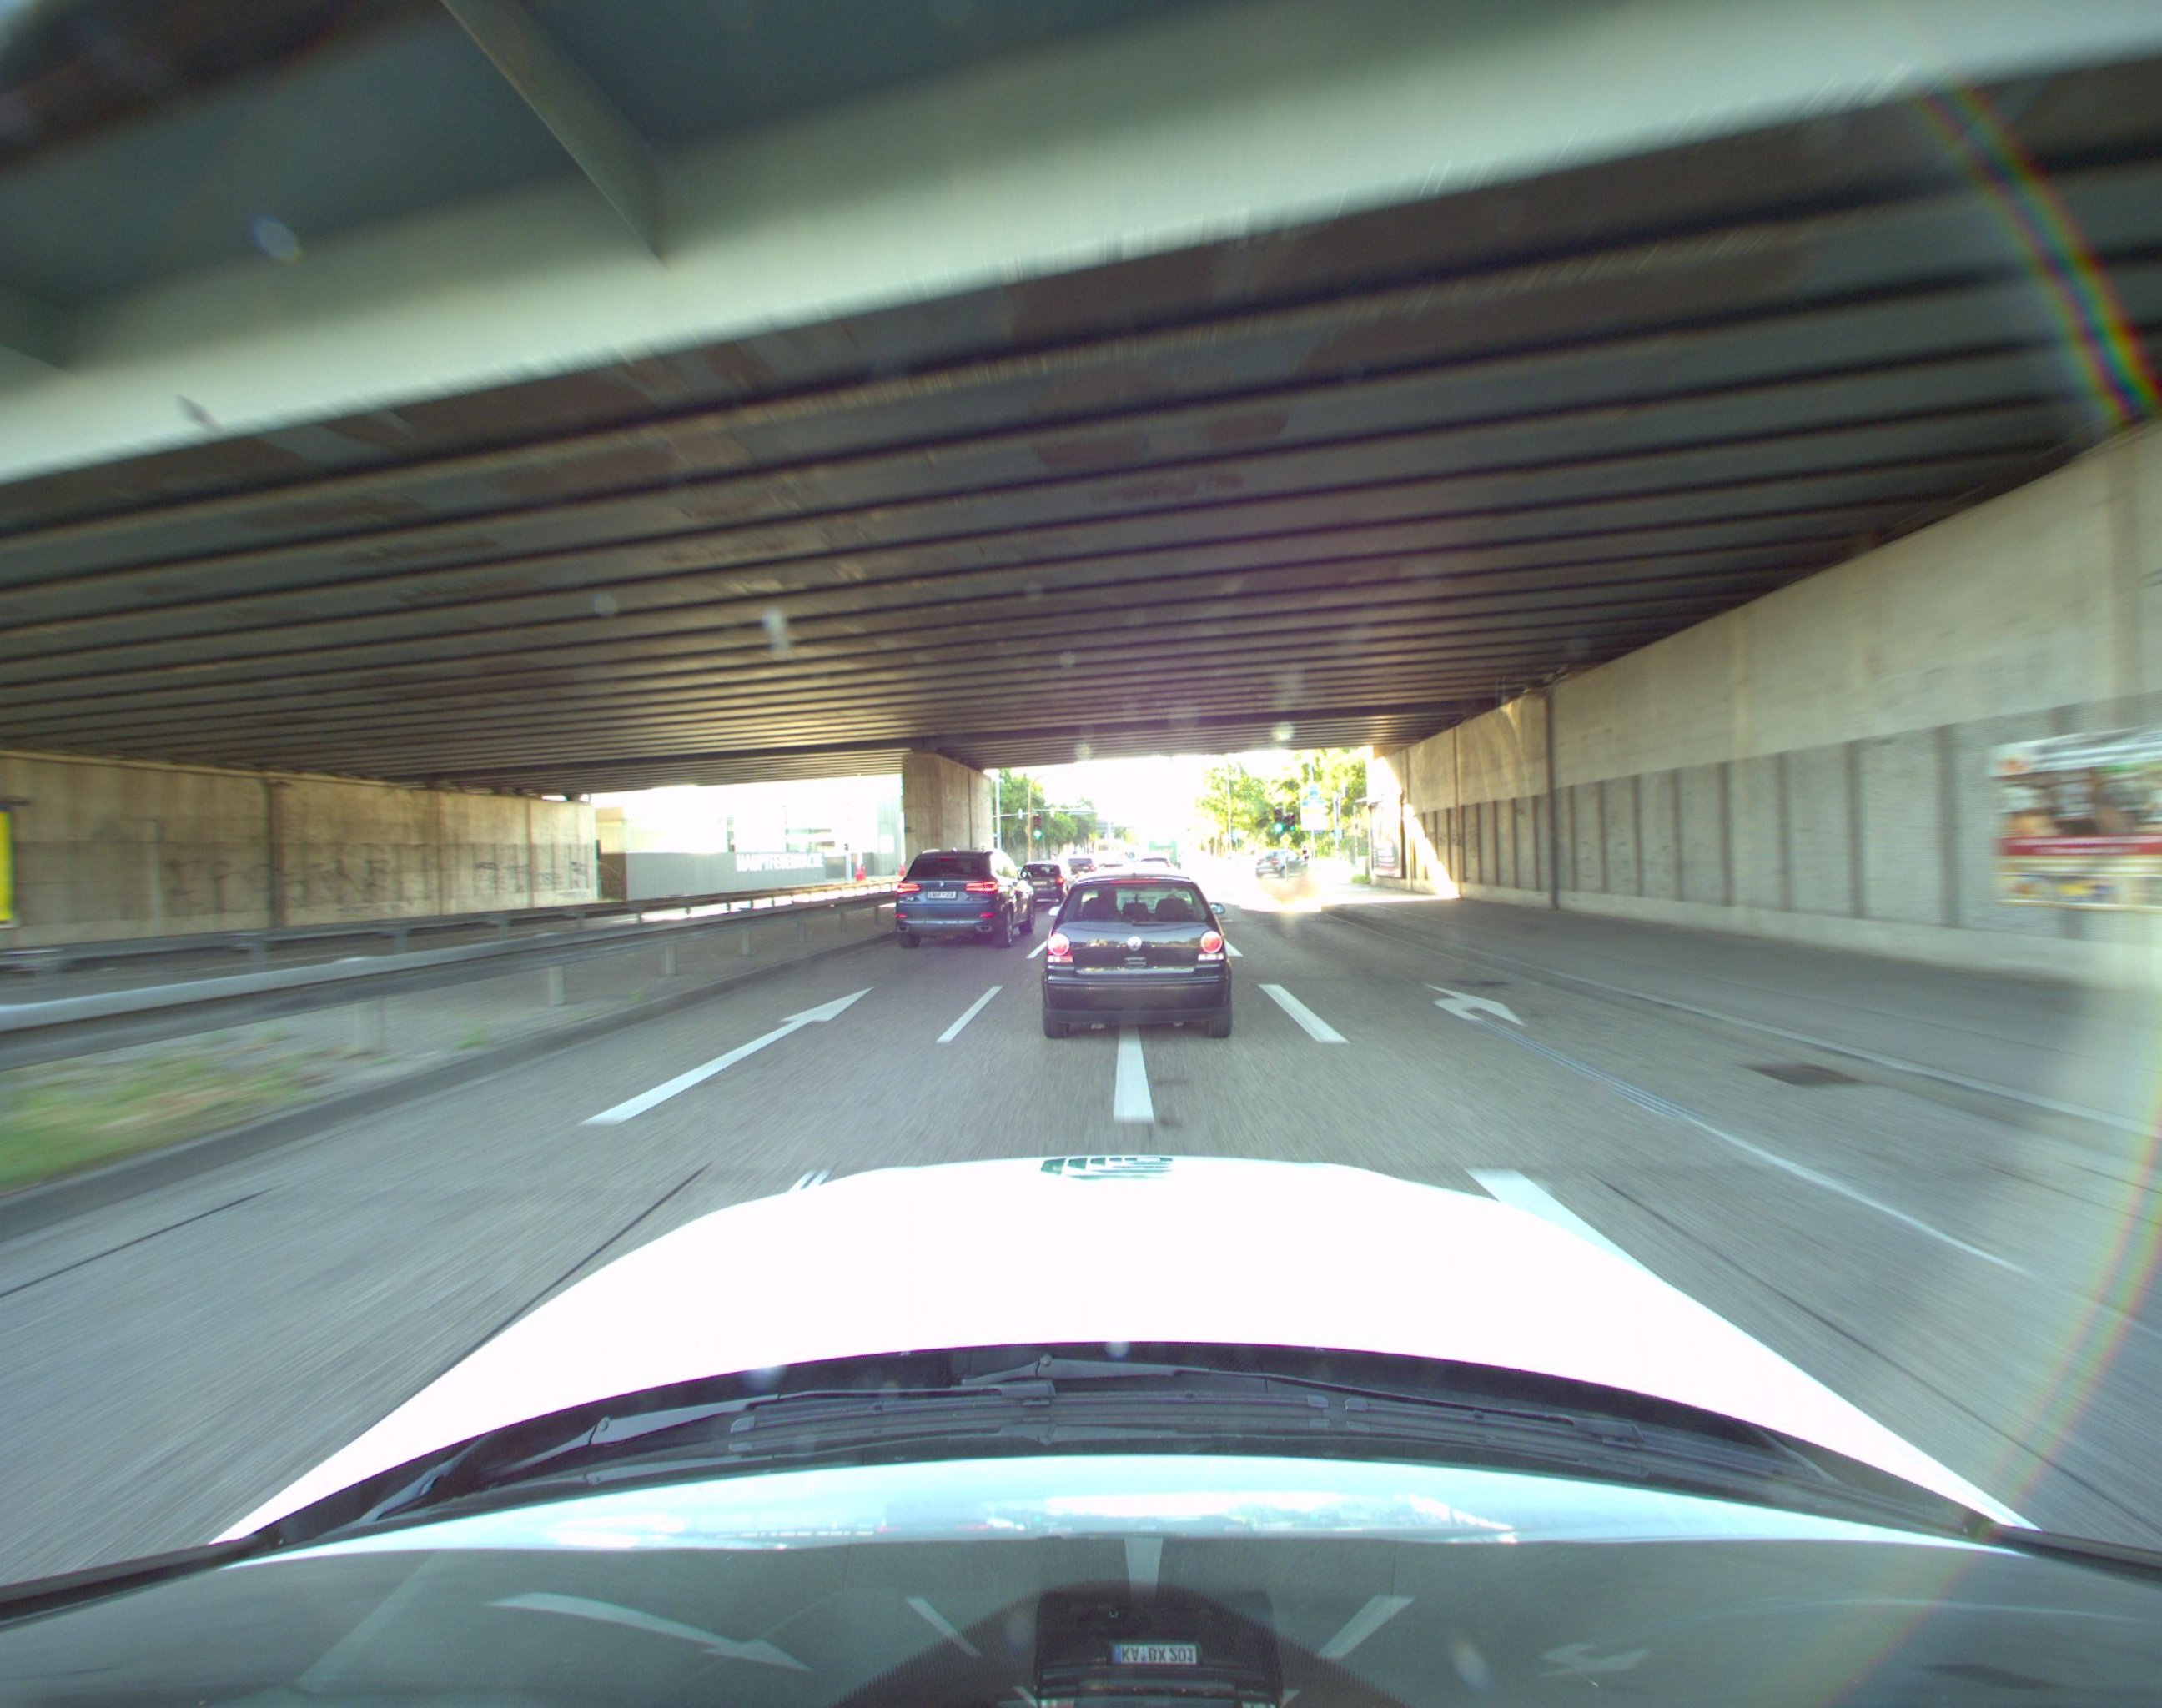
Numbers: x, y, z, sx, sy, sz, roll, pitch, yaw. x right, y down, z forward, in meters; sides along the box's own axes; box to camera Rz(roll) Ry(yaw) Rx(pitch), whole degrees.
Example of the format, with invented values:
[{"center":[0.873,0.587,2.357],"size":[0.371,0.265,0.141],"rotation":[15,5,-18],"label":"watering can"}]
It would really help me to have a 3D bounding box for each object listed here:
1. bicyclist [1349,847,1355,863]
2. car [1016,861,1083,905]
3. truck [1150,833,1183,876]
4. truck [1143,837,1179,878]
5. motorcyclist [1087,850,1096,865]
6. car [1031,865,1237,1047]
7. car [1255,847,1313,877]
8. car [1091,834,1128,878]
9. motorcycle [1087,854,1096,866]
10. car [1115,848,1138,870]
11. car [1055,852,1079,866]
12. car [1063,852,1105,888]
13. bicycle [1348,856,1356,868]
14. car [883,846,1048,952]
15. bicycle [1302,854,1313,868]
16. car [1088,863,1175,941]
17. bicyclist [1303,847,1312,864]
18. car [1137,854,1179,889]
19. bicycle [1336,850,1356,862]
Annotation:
[{"center":[21.555,0.098,64.756],"size":[0.425,1.309,0.461],"rotation":[0,-1,7],"label":"bicyclist"},{"center":[-1.013,0.937,27.938],"size":[1.607,1.410,3.691],"rotation":[0,-1,8],"label":"car"},{"center":[5.574,0.062,52.680],"size":[1.985,2.669,4.008],"rotation":[0,-1,7],"label":"truck"},{"center":[4.744,0.214,47.894],"size":[1.985,2.315,4.008],"rotation":[0,-1,7],"label":"truck"},{"center":[1.047,0.344,80.692],"size":[0.794,1.349,1.275],"rotation":[-3,1,0],"label":"motorcyclist"},{"center":[0.508,0.825,8.227],"size":[1.610,1.410,3.685],"rotation":[0,-1,3],"label":"car"},{"center":[11.590,0.462,46.353],"size":[1.720,1.630,4.088],"rotation":[-1,-1,37],"label":"car"},{"center":[1.775,0.146,49.891],"size":[2.128,2.576,5.090],"rotation":[0,-1,2],"label":"car"},{"center":[1.060,0.592,80.624],"size":[0.837,1.076,2.401],"rotation":[-4,0,1],"label":"motorcycle"},{"center":[3.601,0.406,64.495],"size":[1.608,1.679,3.689],"rotation":[0,-1,6],"label":"car"},{"center":[-1.437,0.559,85.913],"size":[1.983,1.475,4.087],"rotation":[0,-1,6],"label":"car"},{"center":[0.183,0.755,39.144],"size":[1.608,1.679,3.689],"rotation":[0,-1,6],"label":"car"},{"center":[21.558,0.621,64.830],"size":[0.435,0.914,1.029],"rotation":[0,-1,7],"label":"bicycle"},{"center":[-2.005,0.759,15.648],"size":[1.983,1.734,4.542],"rotation":[0,-1,7],"label":"car"},{"center":[18.088,0.559,65.011],"size":[0.561,1.112,1.625],"rotation":[0,-1,7],"label":"bicycle"},{"center":[0.995,0.888,16.874],"size":[1.572,1.413,4.064],"rotation":[0,-1,2],"label":"car"},{"center":[18.100,0.129,65.146],"size":[0.541,1.316,0.837],"rotation":[0,-1,7],"label":"bicyclist"},{"center":[3.640,0.789,37.985],"size":[1.786,1.559,4.008],"rotation":[0,-1,7],"label":"car"},{"center":[23.372,0.176,71.830],"size":[1.647,0.991,0.581],"rotation":[-2,2,23],"label":"bicycle"}]
